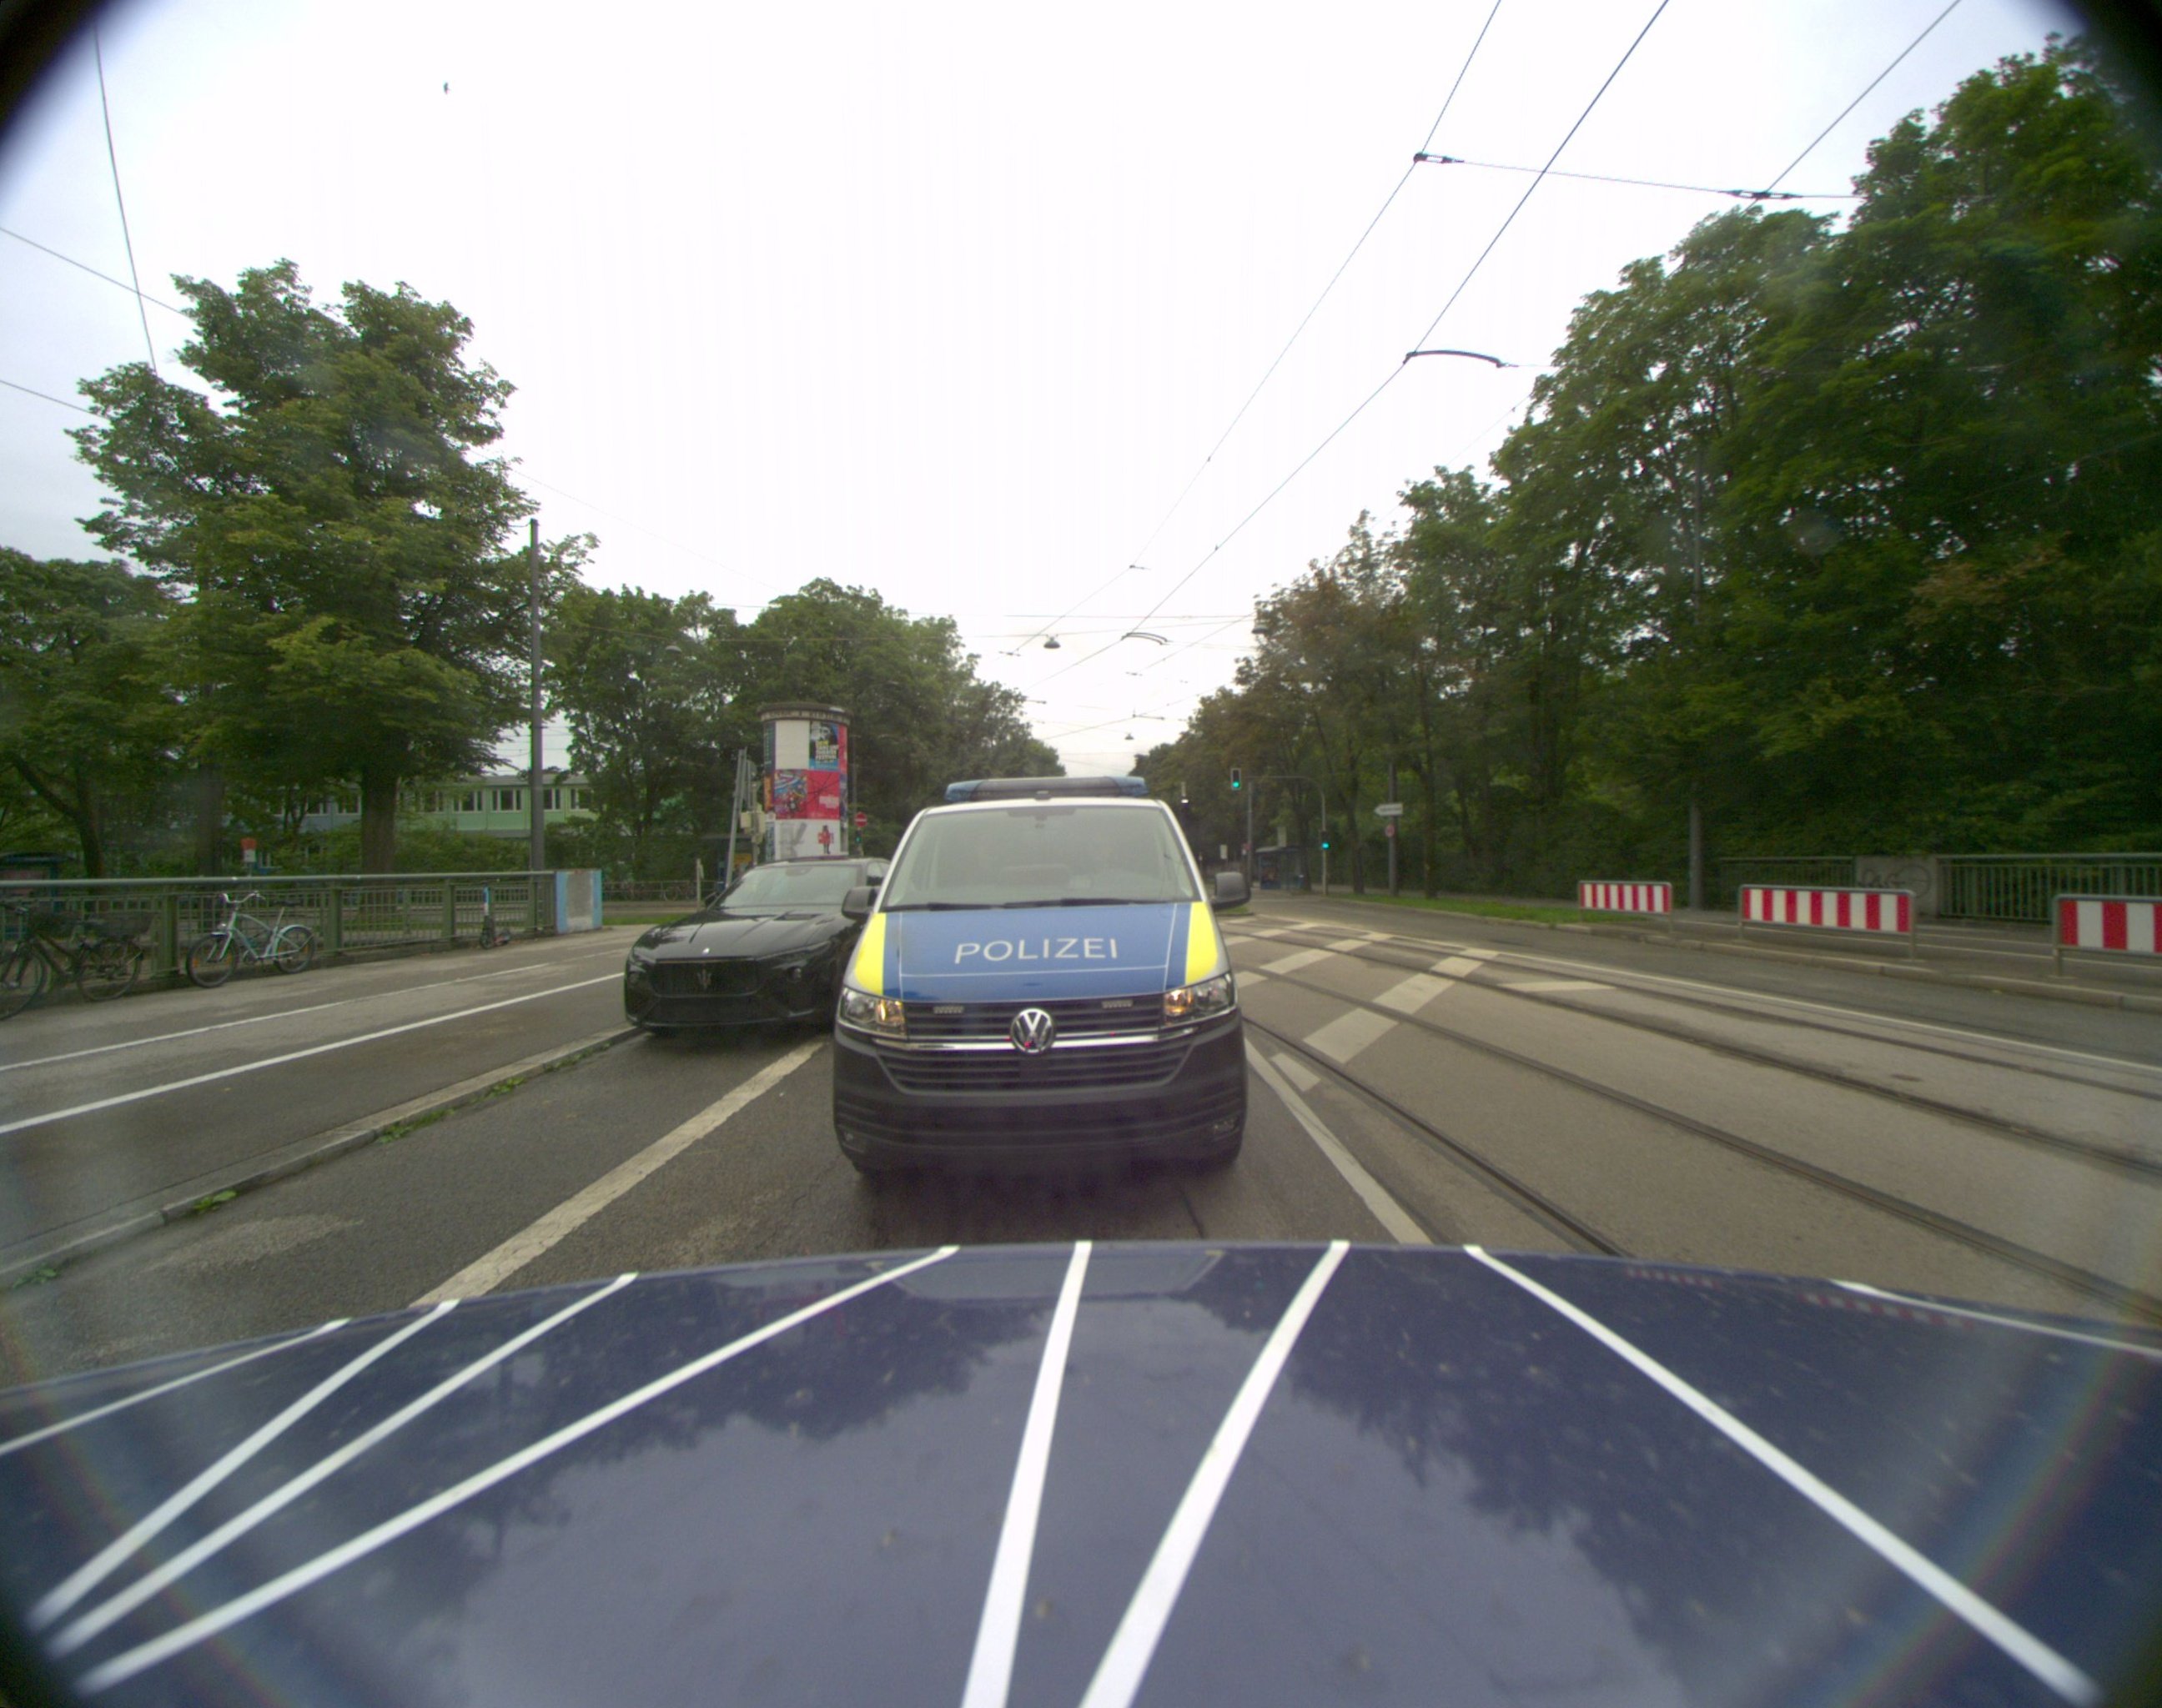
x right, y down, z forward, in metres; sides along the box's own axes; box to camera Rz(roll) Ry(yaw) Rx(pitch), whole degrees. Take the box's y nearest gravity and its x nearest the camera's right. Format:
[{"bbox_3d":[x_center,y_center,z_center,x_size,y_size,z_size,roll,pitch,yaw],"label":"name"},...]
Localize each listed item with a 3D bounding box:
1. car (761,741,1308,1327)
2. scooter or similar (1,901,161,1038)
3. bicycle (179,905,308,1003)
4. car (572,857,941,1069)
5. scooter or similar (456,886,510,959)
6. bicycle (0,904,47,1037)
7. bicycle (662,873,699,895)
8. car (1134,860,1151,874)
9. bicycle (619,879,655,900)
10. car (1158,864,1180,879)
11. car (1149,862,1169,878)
[{"bbox_3d":[-0.202,0.627,5.534,1.903,2.041,5.708,-1,0,-1],"label":"car"},{"bbox_3d":[-10.596,1.169,8.108,0.245,1.255,1.493,-3,0,-22],"label":"scooter or similar"},{"bbox_3d":[-10.750,1.241,9.810,0.265,1.076,1.540,-3,0,-14],"label":"bicycle"},{"bbox_3d":[-3.015,0.889,8.368,1.905,1.600,4.665,-3,-1,1],"label":"car"},{"bbox_3d":[-10.587,1.187,13.483,0.225,1.205,1.020,-3,1,-8],"label":"scooter or similar"},{"bbox_3d":[-10.601,1.145,7.116,0.283,1.274,1.408,-3,0,-19],"label":"bicycle"},{"bbox_3d":[-18.675,1.400,35.437,1.483,0.946,0.373,-1,1,3],"label":"bicycle"},{"bbox_3d":[8.588,1.805,105.741,1.888,1.716,3.999,-3,0,-1],"label":"car"},{"bbox_3d":[-20.820,1.646,35.627,1.483,0.946,0.373,-1,1,3],"label":"bicycle"},{"bbox_3d":[9.935,1.913,85.741,1.888,1.531,3.999,-3,0,-1],"label":"car"},{"bbox_3d":[9.323,1.922,91.078,1.888,1.716,3.999,-3,0,-1],"label":"car"}]
